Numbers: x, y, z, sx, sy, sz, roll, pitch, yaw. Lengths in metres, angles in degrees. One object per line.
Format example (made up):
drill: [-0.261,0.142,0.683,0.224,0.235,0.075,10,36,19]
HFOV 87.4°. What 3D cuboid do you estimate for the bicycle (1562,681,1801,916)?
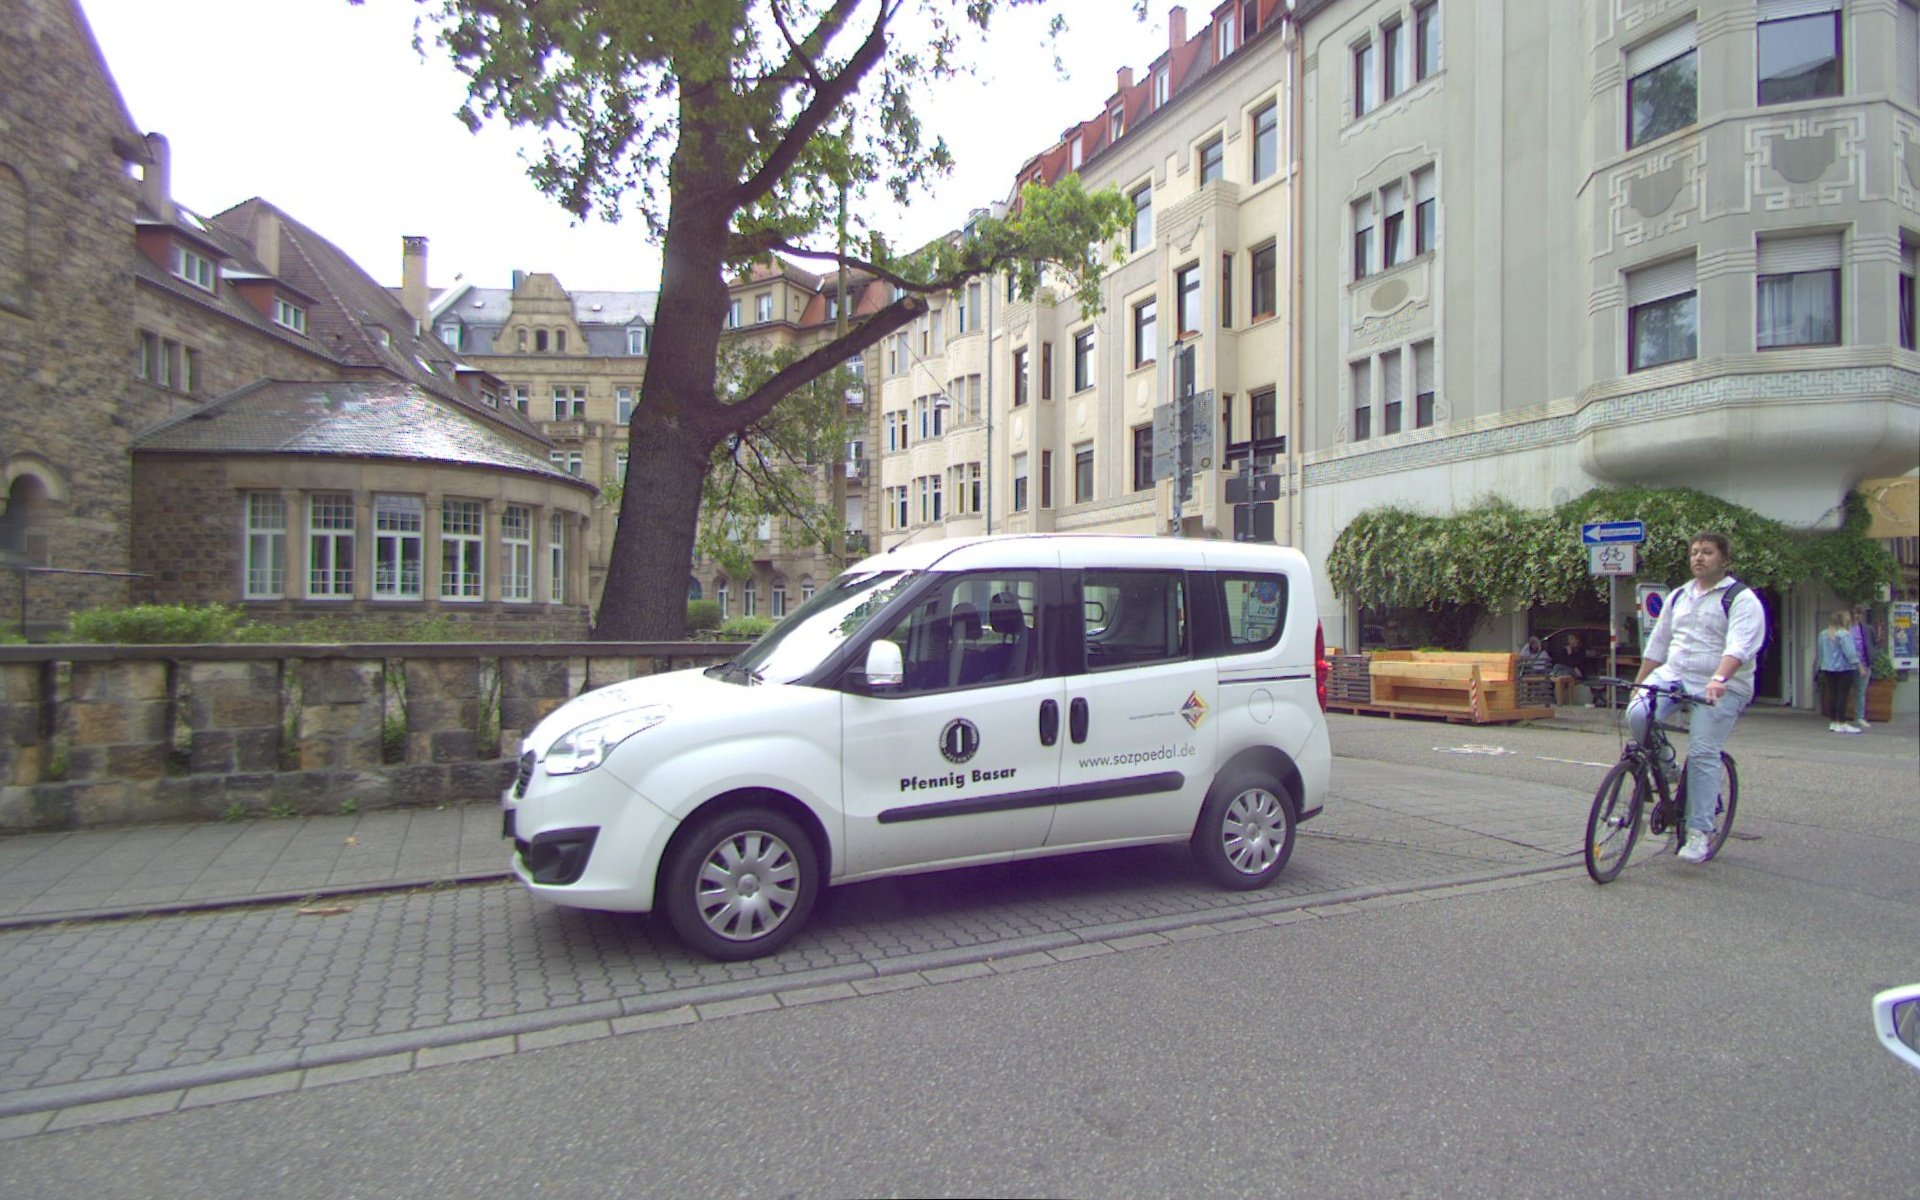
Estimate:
bicycle: [4.296,1.075,5.924,1.967,1.102,0.563,1,-1,-36]

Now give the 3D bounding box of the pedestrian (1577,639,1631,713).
pedestrian: [10.958,1.274,17.100,0.547,1.213,0.576,0,-1,-26]

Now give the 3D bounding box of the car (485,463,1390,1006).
car: [-0.044,0.530,5.425,4.485,1.965,1.838,1,-1,-25]

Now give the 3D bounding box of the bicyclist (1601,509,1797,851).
bicyclist: [4.470,0.452,6.093,0.707,1.891,0.777,1,-1,-35]

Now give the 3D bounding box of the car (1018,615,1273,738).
car: [2.682,1.089,15.422,1.746,1.627,4.042,2,-2,-28]

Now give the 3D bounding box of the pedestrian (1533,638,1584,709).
pedestrian: [10.618,1.293,17.815,0.547,1.213,0.576,0,-1,-26]

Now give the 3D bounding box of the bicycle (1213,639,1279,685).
bicycle: [7.213,1.548,25.442,0.714,1.112,1.739,1,-1,-21]

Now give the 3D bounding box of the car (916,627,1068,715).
car: [0.536,1.312,19.348,1.453,1.502,3.340,2,-2,-28]

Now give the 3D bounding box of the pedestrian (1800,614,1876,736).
pedestrian: [12.449,1.046,14.257,0.565,1.682,0.580,2,-1,-5]

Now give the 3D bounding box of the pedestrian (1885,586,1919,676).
pedestrian: [17.430,0.568,18.305,0.733,1.614,0.617,1,-2,34]

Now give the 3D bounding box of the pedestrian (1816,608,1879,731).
pedestrian: [13.004,1.006,14.729,0.569,1.757,0.505,1,-2,28]
